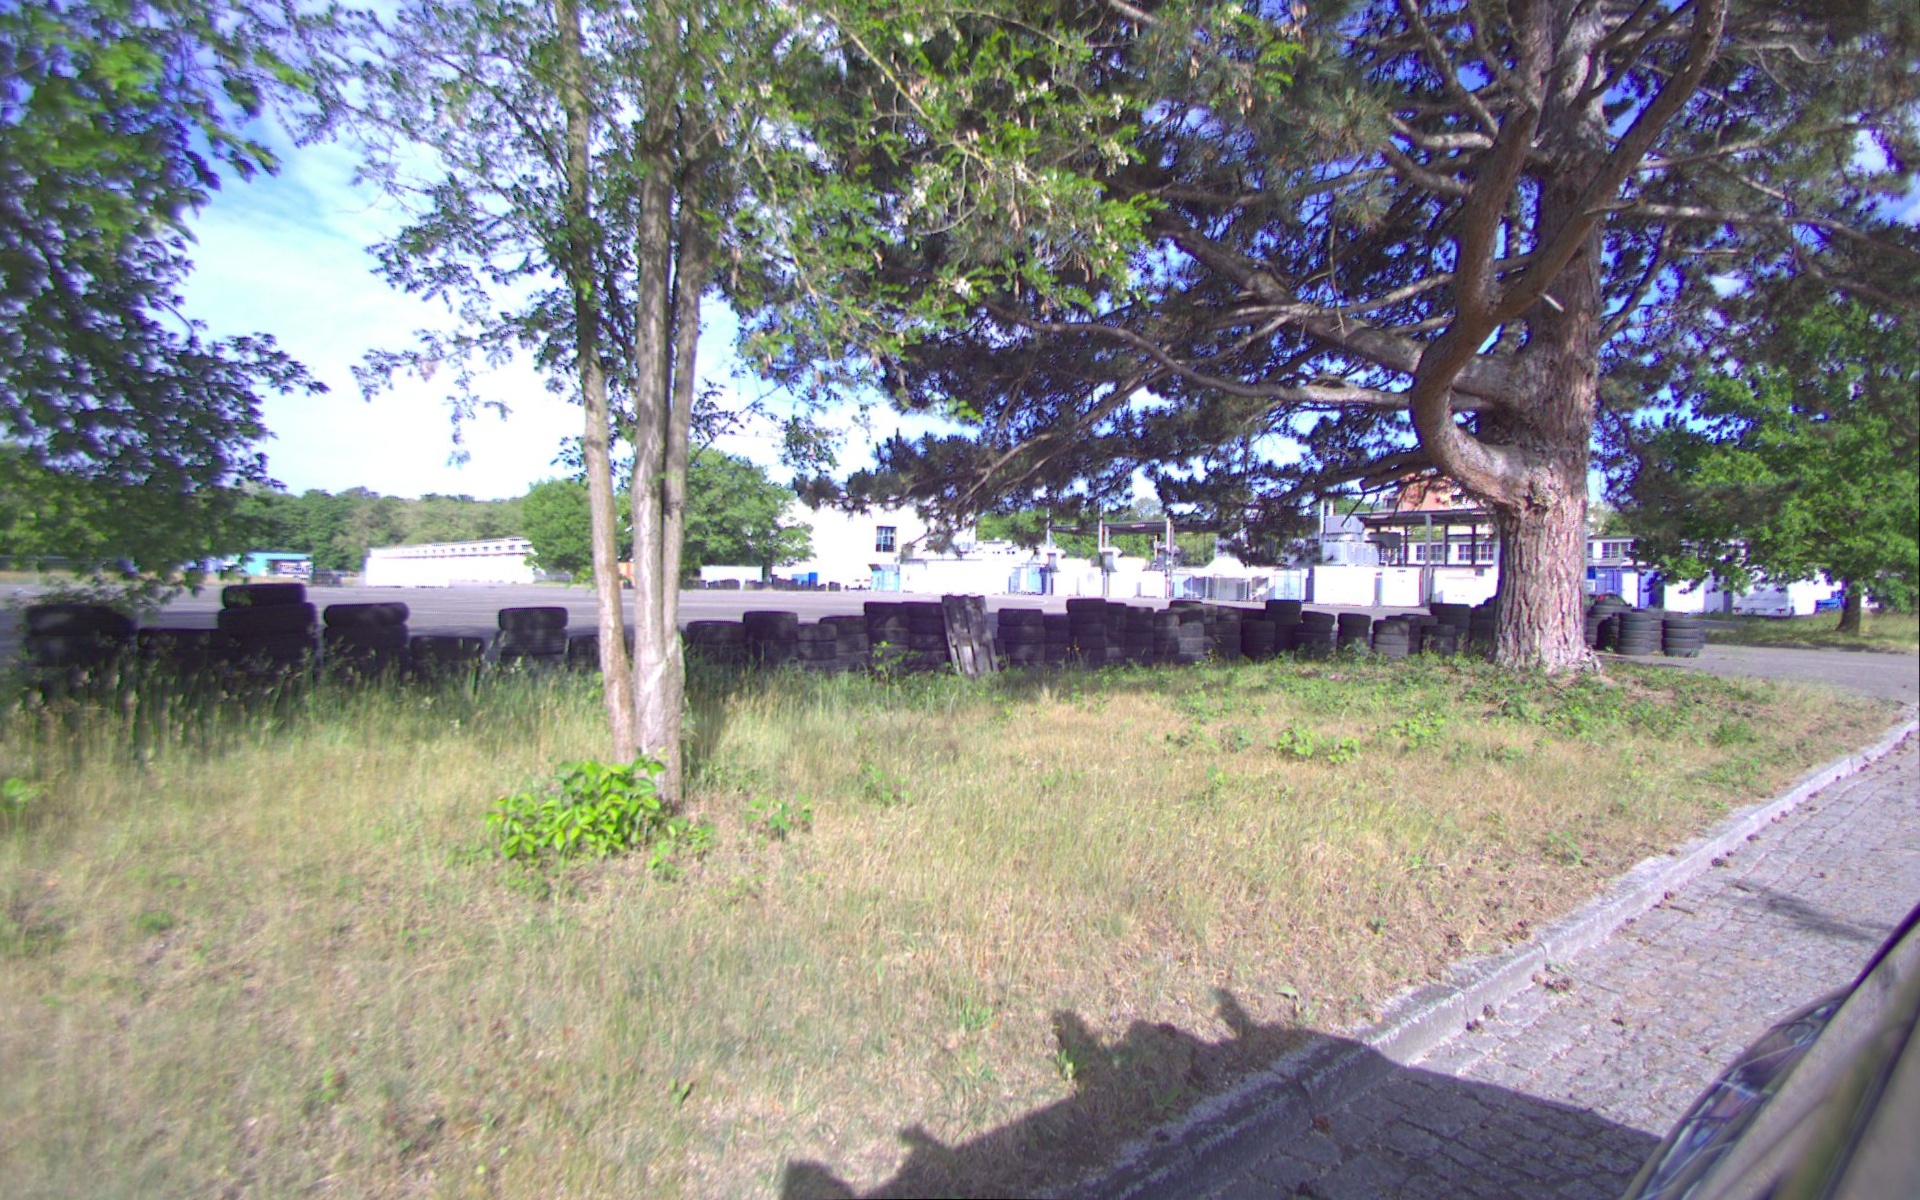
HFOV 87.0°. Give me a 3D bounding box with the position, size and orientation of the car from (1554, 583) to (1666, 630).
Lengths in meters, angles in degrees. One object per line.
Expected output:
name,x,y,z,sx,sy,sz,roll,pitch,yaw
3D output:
car,22.221,0.202,34.570,3.923,1.467,1.849,0,1,-35
